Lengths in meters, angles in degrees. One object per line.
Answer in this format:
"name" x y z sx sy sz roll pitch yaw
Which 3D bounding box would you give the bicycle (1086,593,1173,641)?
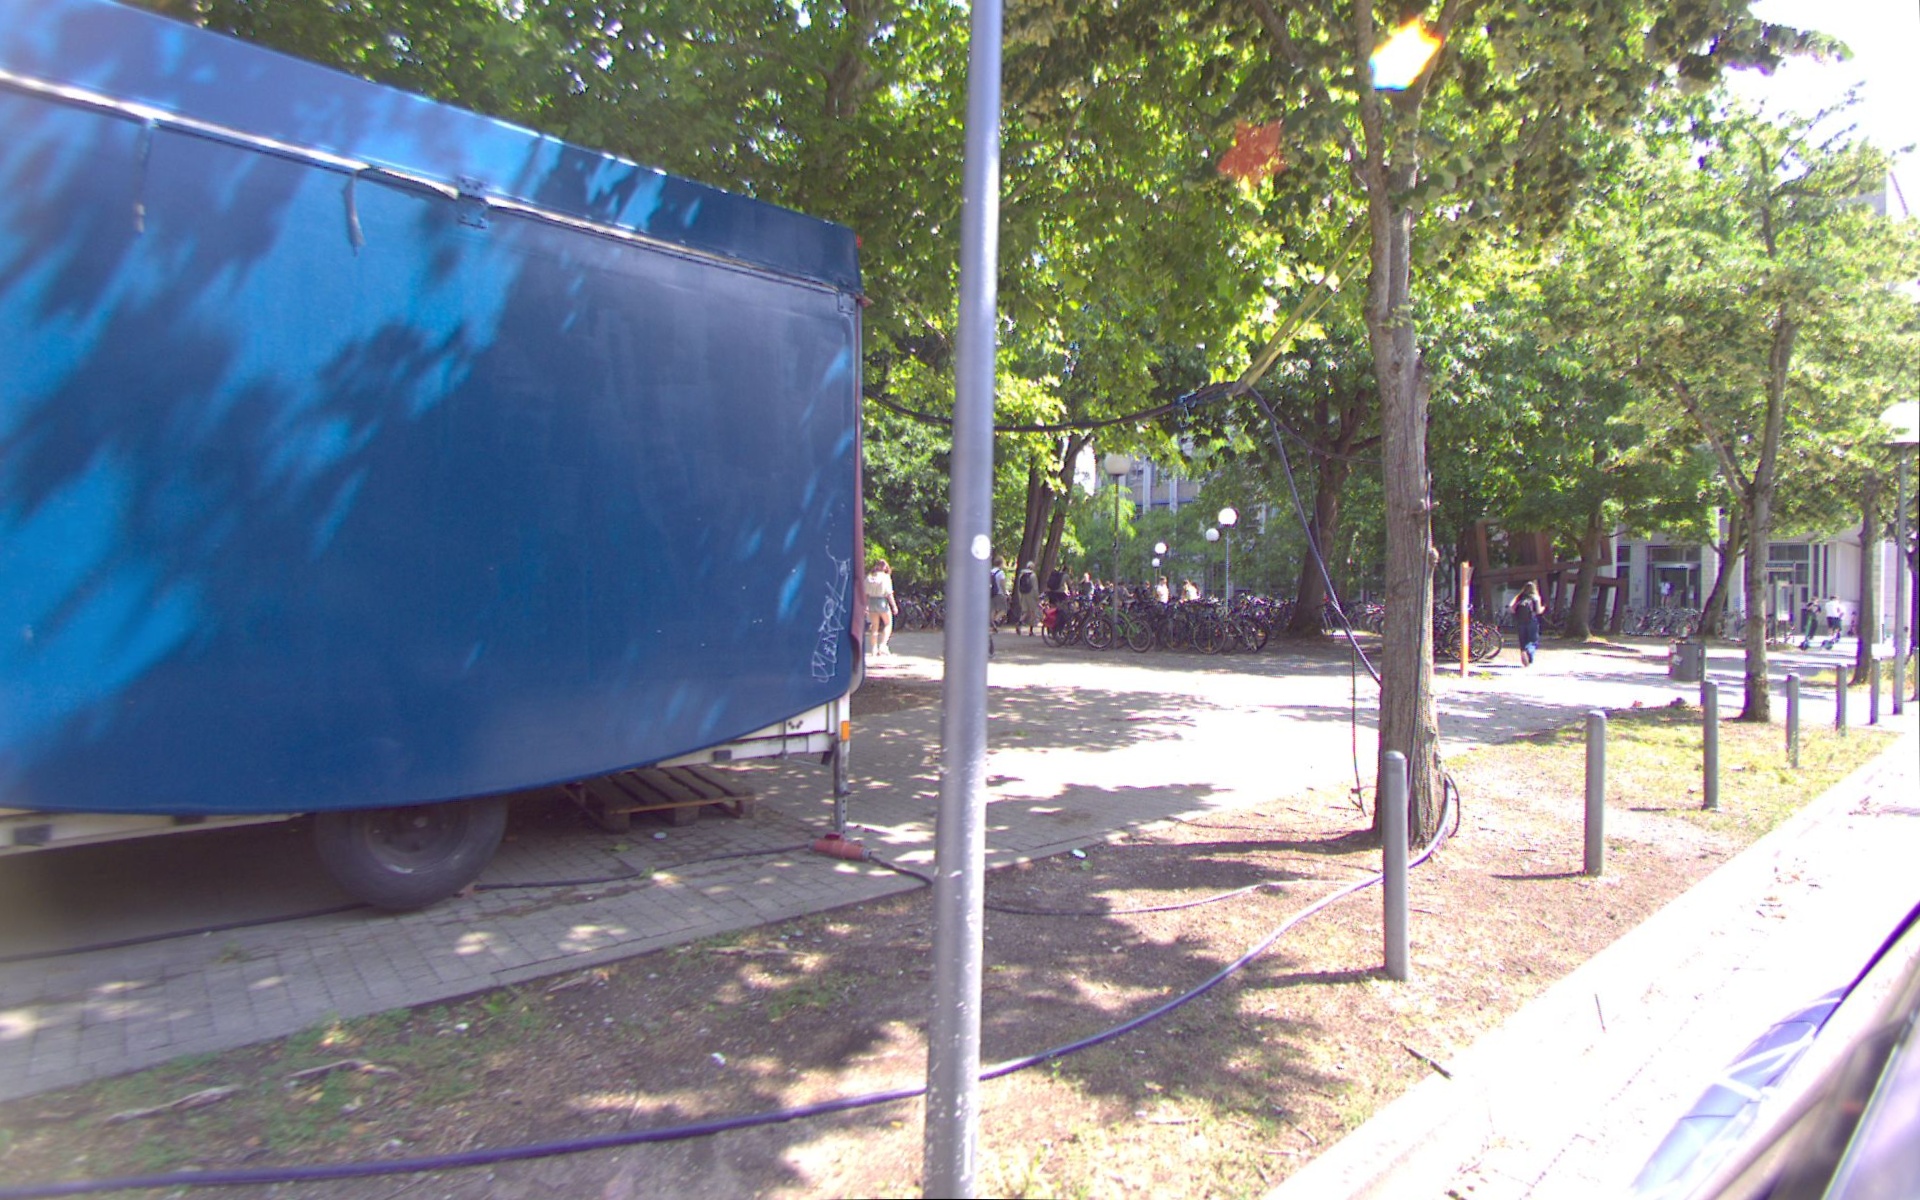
"bicycle" 3.827 0.372 22.923 1.881 0.991 0.418 2 1 21

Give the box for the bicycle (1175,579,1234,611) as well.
"bicycle" 8.184 -0.184 33.909 1.879 0.991 0.376 2 1 19

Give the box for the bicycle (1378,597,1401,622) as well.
"bicycle" 20.203 0.440 47.589 0.453 1.144 1.661 -2 -3 43

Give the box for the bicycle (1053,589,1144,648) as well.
"bicycle" 2.956 0.373 21.678 1.888 1.157 0.473 2 1 30

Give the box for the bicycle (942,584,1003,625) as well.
"bicycle" 0.369 0.118 29.714 1.734 1.107 0.475 2 1 23

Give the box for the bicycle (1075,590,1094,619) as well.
"bicycle" 4.459 0.152 36.378 0.576 0.942 1.750 4 2 5

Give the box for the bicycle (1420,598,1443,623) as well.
"bicycle" 21.642 0.494 46.471 0.453 1.144 1.661 -2 -3 43

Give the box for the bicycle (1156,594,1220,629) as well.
"bicycle" 6.950 0.349 30.879 1.873 0.991 0.377 2 1 10

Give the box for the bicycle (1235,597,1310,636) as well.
"bicycle" 8.595 0.459 27.887 1.868 0.991 0.478 2 1 1

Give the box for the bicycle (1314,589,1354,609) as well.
"bicycle" 20.554 -0.071 55.670 0.804 1.054 1.929 -4 3 -40

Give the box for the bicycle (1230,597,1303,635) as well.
"bicycle" 8.603 0.445 28.463 1.868 0.991 0.478 2 1 1

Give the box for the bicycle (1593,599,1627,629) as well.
"bicycle" 26.426 0.585 41.119 1.664 1.139 0.566 3 0 -36

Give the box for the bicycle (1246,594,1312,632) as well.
"bicycle" 9.866 0.392 31.300 1.875 1.096 0.477 2 1 13

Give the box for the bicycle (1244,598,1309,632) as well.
"bicycle" 10.014 0.468 32.038 1.873 0.991 0.477 2 1 10

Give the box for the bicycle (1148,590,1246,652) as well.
"bicycle" 4.717 0.393 20.170 1.792 1.132 0.607 2 1 28

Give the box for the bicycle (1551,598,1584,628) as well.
"bicycle" 25.366 0.542 42.246 1.666 1.165 0.627 3 0 -40

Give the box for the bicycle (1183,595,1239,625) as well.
"bicycle" 8.849 0.337 35.732 1.879 0.991 0.376 2 1 19

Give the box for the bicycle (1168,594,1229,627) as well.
"bicycle" 7.699 0.334 32.700 1.873 0.991 0.477 2 1 11

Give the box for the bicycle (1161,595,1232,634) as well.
"bicycle" 6.621 0.393 28.324 1.879 0.991 0.476 2 1 19

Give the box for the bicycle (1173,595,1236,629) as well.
"bicycle" 7.604 0.374 31.536 1.873 0.991 0.377 2 1 10

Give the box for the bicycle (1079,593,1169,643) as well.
"bicycle" 3.603 0.381 22.307 1.888 0.991 0.473 2 1 30

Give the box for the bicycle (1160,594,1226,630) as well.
"bicycle" 6.986 0.359 30.427 1.873 0.991 0.477 2 1 10

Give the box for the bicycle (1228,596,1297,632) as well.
"bicycle" 8.933 0.401 29.971 1.872 0.991 0.477 2 1 8

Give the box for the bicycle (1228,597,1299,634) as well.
"bicycle" 8.698 0.435 29.069 1.872 0.991 0.477 2 1 9

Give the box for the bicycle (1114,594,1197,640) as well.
"bicycle" 4.623 0.380 24.011 1.886 0.991 0.417 2 1 28

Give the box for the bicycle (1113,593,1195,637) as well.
"bicycle" 4.679 0.350 24.499 1.886 0.991 0.417 2 1 28

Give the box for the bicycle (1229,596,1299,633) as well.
"bicycle" 8.882 0.411 29.573 1.872 0.991 0.477 2 1 8

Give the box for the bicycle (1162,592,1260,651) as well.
"bicycle" 5.248 0.432 21.188 1.886 1.132 0.607 2 1 28

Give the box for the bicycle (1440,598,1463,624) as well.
"bicycle" 22.351 0.492 45.973 0.453 1.144 1.661 -2 -3 43

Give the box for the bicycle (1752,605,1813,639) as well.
"bicycle" 29.405 0.790 36.185 1.749 1.155 0.607 2 2 -8

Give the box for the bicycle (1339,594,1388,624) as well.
"bicycle" 16.643 0.366 41.797 1.818 1.185 0.434 2 0 14

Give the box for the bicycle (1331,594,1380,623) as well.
"bicycle" 16.713 0.358 42.787 1.815 1.185 0.412 2 0 10

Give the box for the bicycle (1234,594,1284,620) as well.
"bicycle" 12.085 0.276 40.998 1.874 0.991 0.477 2 1 12

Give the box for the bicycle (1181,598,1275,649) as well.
"bicycle" 5.874 0.497 22.218 1.886 0.991 0.607 2 1 28

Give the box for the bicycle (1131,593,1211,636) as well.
"bicycle" 5.282 0.341 25.366 1.885 0.991 0.474 2 1 26

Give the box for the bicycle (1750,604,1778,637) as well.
"bicycle" 29.534 0.746 37.166 1.465 1.155 0.560 0 2 -44

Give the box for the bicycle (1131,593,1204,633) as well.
"bicycle" 5.611 0.344 27.394 1.877 0.991 0.534 2 1 15

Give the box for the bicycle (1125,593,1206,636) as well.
"bicycle" 5.085 0.345 25.049 1.885 0.991 0.474 2 1 26

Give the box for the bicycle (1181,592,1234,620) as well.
"bicycle" 9.276 0.221 37.999 1.879 0.991 0.476 2 1 19

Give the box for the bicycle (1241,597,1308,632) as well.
"bicycle" 9.558 0.429 30.770 1.879 0.991 0.476 2 1 19

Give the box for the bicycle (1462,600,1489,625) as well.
"bicycle" 22.827 0.563 44.814 0.615 1.061 1.661 -2 -3 43

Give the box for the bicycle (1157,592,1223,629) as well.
"bicycle" 6.766 0.301 29.831 1.863 0.991 0.304 2 1 22

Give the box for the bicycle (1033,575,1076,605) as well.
"bicycle" 3.642 -0.386 39.079 1.586 1.107 0.477 2 1 12

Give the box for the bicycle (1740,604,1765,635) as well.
"bicycle" 34.309 0.831 43.803 1.799 1.257 0.531 -1 1 -43

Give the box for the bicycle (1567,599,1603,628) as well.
"bicycle" 25.690 0.560 41.585 1.664 1.139 0.628 3 0 -36

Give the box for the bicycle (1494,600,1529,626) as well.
"bicycle" 23.843 0.574 43.772 1.663 1.061 0.618 2 -3 -33

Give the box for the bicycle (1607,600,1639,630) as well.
"bicycle" 26.636 0.606 40.631 1.664 1.139 0.482 3 0 -36

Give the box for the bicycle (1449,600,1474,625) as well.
"bicycle" 22.418 0.558 45.226 0.499 1.061 1.661 -2 -3 43

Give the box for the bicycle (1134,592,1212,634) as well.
"bicycle" 5.532 0.323 26.331 1.886 0.991 0.607 2 1 28

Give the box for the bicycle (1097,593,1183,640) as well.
"bicycle" 4.166 0.372 23.477 1.884 0.991 0.474 2 1 25
